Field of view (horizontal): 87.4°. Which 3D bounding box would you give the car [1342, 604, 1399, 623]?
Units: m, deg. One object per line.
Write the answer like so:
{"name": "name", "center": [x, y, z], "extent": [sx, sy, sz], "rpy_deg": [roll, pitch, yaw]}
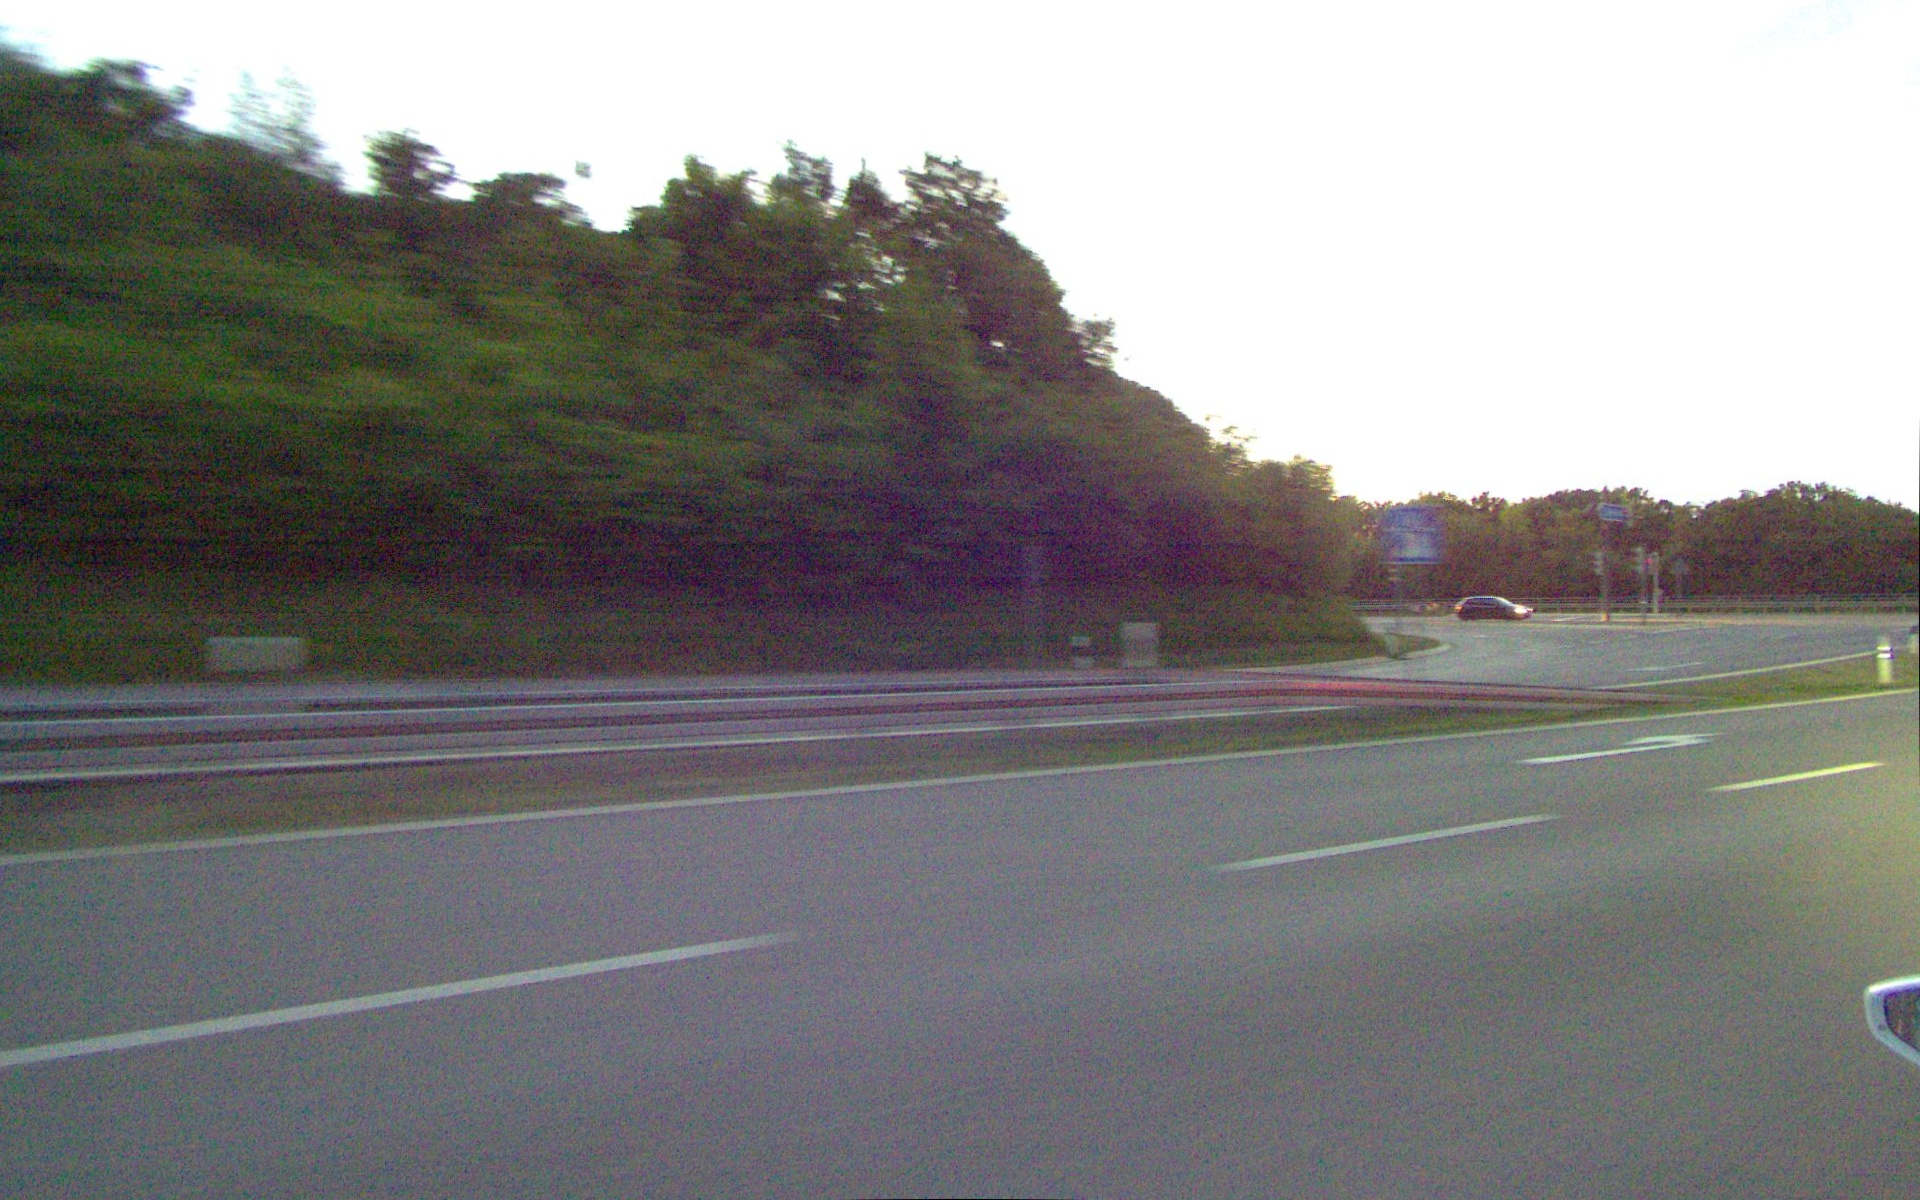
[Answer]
{"name": "car", "center": [34.581, 1.104, 84.662], "extent": [1.986, 1.472, 3.949], "rpy_deg": [1, 0, -43]}

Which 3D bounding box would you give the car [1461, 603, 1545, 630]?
{"name": "car", "center": [31.776, 0.985, 58.822], "extent": [1.986, 1.472, 3.949], "rpy_deg": [1, -2, -43]}
